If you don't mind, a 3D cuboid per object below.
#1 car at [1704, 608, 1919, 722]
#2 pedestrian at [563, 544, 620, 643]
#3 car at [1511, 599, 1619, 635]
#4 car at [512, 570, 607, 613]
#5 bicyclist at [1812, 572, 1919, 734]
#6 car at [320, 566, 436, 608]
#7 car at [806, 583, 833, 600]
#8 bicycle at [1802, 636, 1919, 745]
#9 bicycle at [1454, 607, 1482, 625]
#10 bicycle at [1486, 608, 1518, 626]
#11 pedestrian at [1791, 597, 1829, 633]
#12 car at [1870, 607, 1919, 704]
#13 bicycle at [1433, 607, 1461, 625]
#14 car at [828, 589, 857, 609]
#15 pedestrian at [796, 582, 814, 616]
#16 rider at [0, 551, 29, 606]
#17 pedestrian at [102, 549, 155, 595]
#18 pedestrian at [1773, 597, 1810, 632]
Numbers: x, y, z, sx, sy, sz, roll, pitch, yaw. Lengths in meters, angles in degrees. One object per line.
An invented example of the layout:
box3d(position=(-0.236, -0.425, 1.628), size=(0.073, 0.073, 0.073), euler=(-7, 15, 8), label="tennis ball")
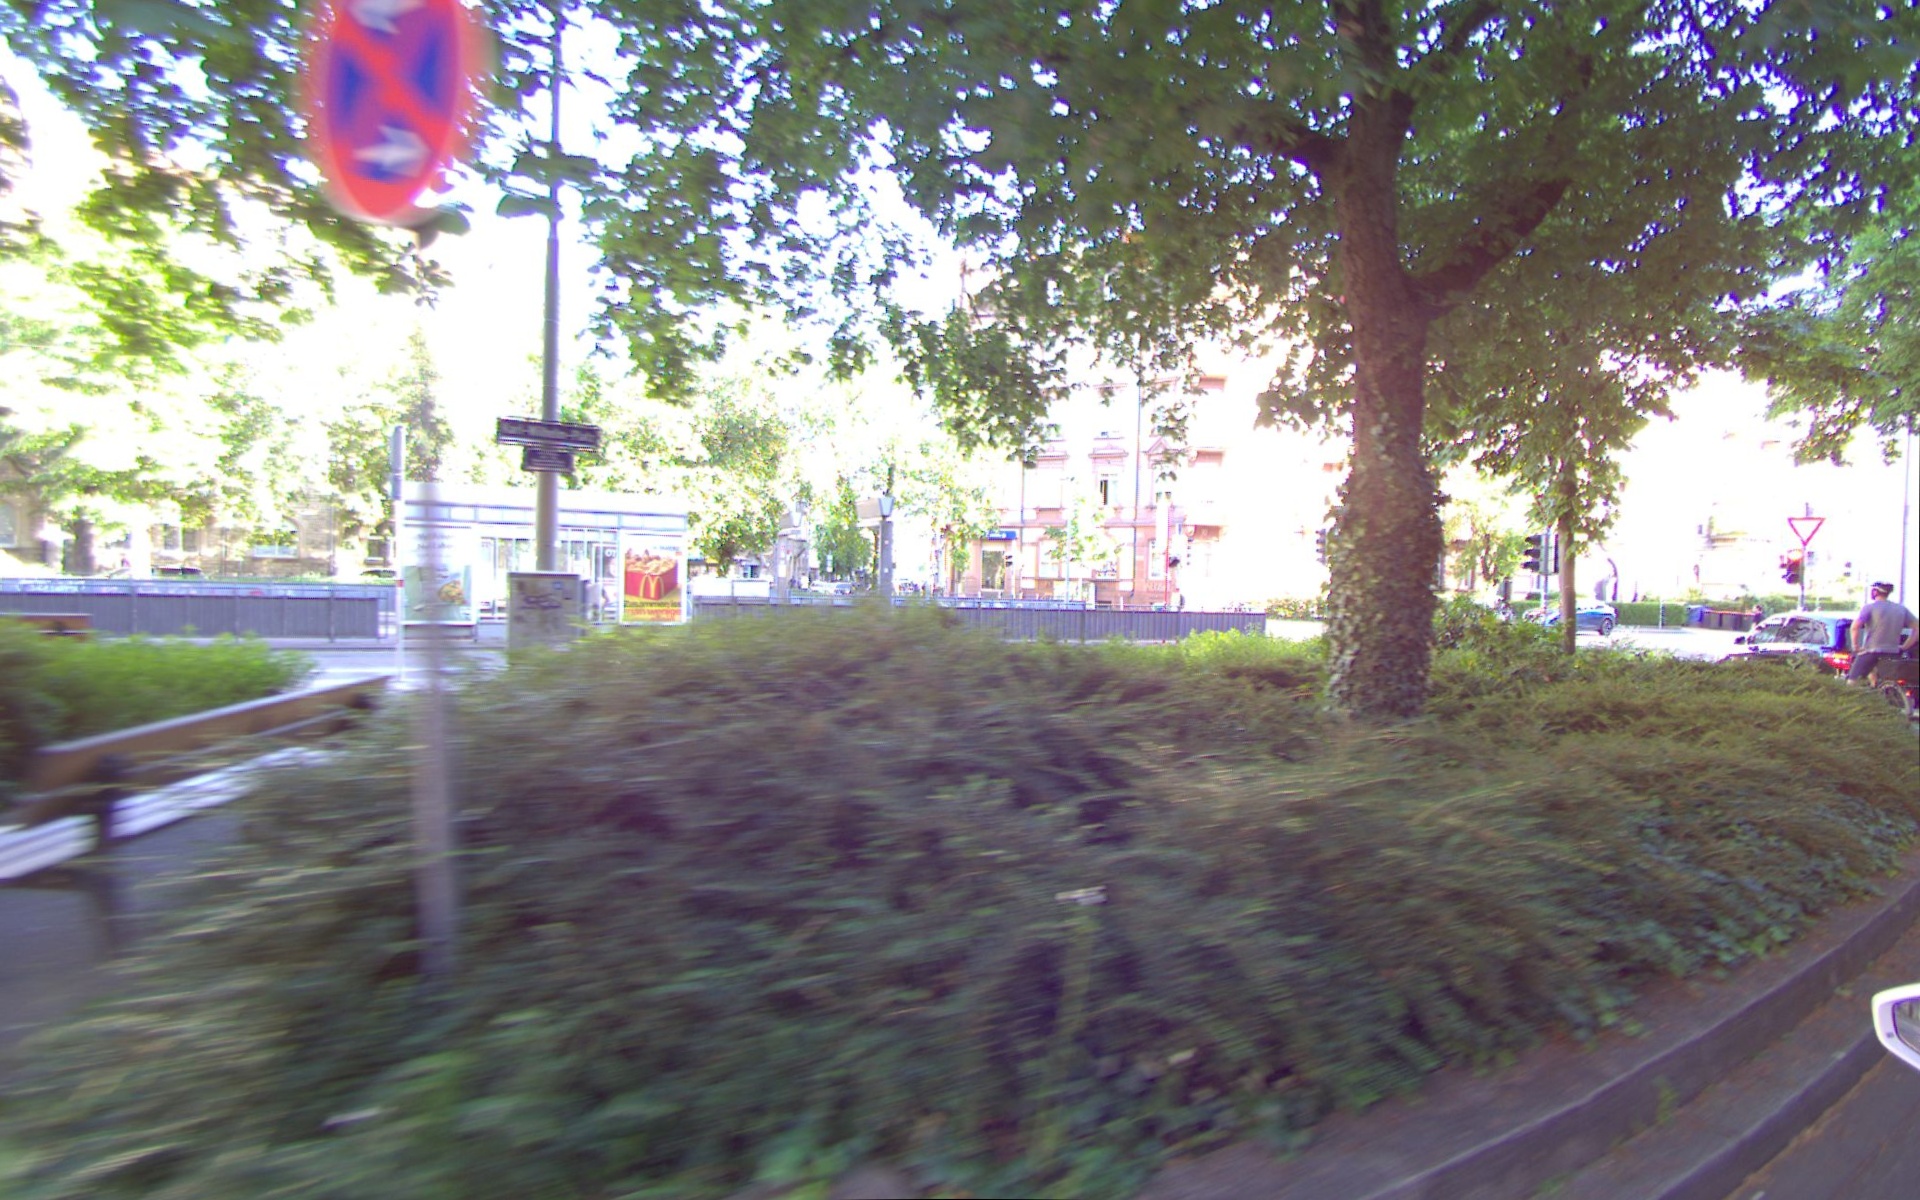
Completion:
box3d(position=(13.711, 0.920, 15.920), size=(1.782, 1.564, 3.960), euler=(0, 0, 16), label="car")
box3d(position=(-7.397, -0.136, 20.140), size=(1.006, 1.923, 0.907), euler=(1, 1, -24), label="pedestrian")
box3d(position=(27.637, 0.766, 45.908), size=(4.310, 1.516, 1.990), euler=(1, 1, -21), label="car")
box3d(position=(-18.760, -0.409, 47.059), size=(3.949, 1.896, 1.986), euler=(1, 1, -27), label="car")
box3d(position=(11.472, 0.633, 12.562), size=(0.836, 1.924, 1.139), euler=(1, 1, 20), label="bicyclist")
box3d(position=(-24.715, -0.526, 42.719), size=(1.928, 1.702, 3.924), euler=(3, 2, 44), label="car")
box3d(position=(-13.453, -0.828, 96.258), size=(1.730, 1.629, 4.001), euler=(2, 1, 4), label="car")
box3d(position=(11.458, 1.094, 12.703), size=(0.588, 1.177, 2.041), euler=(2, 1, 22), label="bicycle")
box3d(position=(25.749, 0.795, 50.935), size=(1.201, 0.873, 0.450), euler=(2, 1, -7), label="bicycle")
box3d(position=(27.993, 0.896, 51.843), size=(1.420, 0.873, 0.450), euler=(2, 1, -7), label="bicycle")
box3d(position=(48.943, 0.867, 57.840), size=(1.369, 1.988, 1.154), euler=(1, 1, -26), label="pedestrian")
box3d(position=(16.707, 0.968, 15.909), size=(1.860, 1.599, 4.000), euler=(2, 1, 18), label="car")
box3d(position=(24.583, 0.799, 50.716), size=(1.201, 0.873, 0.450), euler=(2, 1, -7), label="bicycle")
box3d(position=(-10.153, -0.099, 87.087), size=(1.730, 1.629, 4.001), euler=(2, 1, 5), label="car")
box3d(position=(-9.226, -0.058, 59.777), size=(0.792, 2.041, 0.567), euler=(0, 2, -40), label="pedestrian")
box3d(position=(-30.719, -0.700, 32.331), size=(0.805, 1.704, 0.671), euler=(4, 1, 8), label="rider")
box3d(position=(-35.571, -1.191, 42.981), size=(1.240, 1.937, 1.489), euler=(2, 1, 36), label="pedestrian")
box3d(position=(48.737, 0.821, 58.857), size=(1.369, 1.988, 1.154), euler=(1, 1, -26), label="pedestrian")
